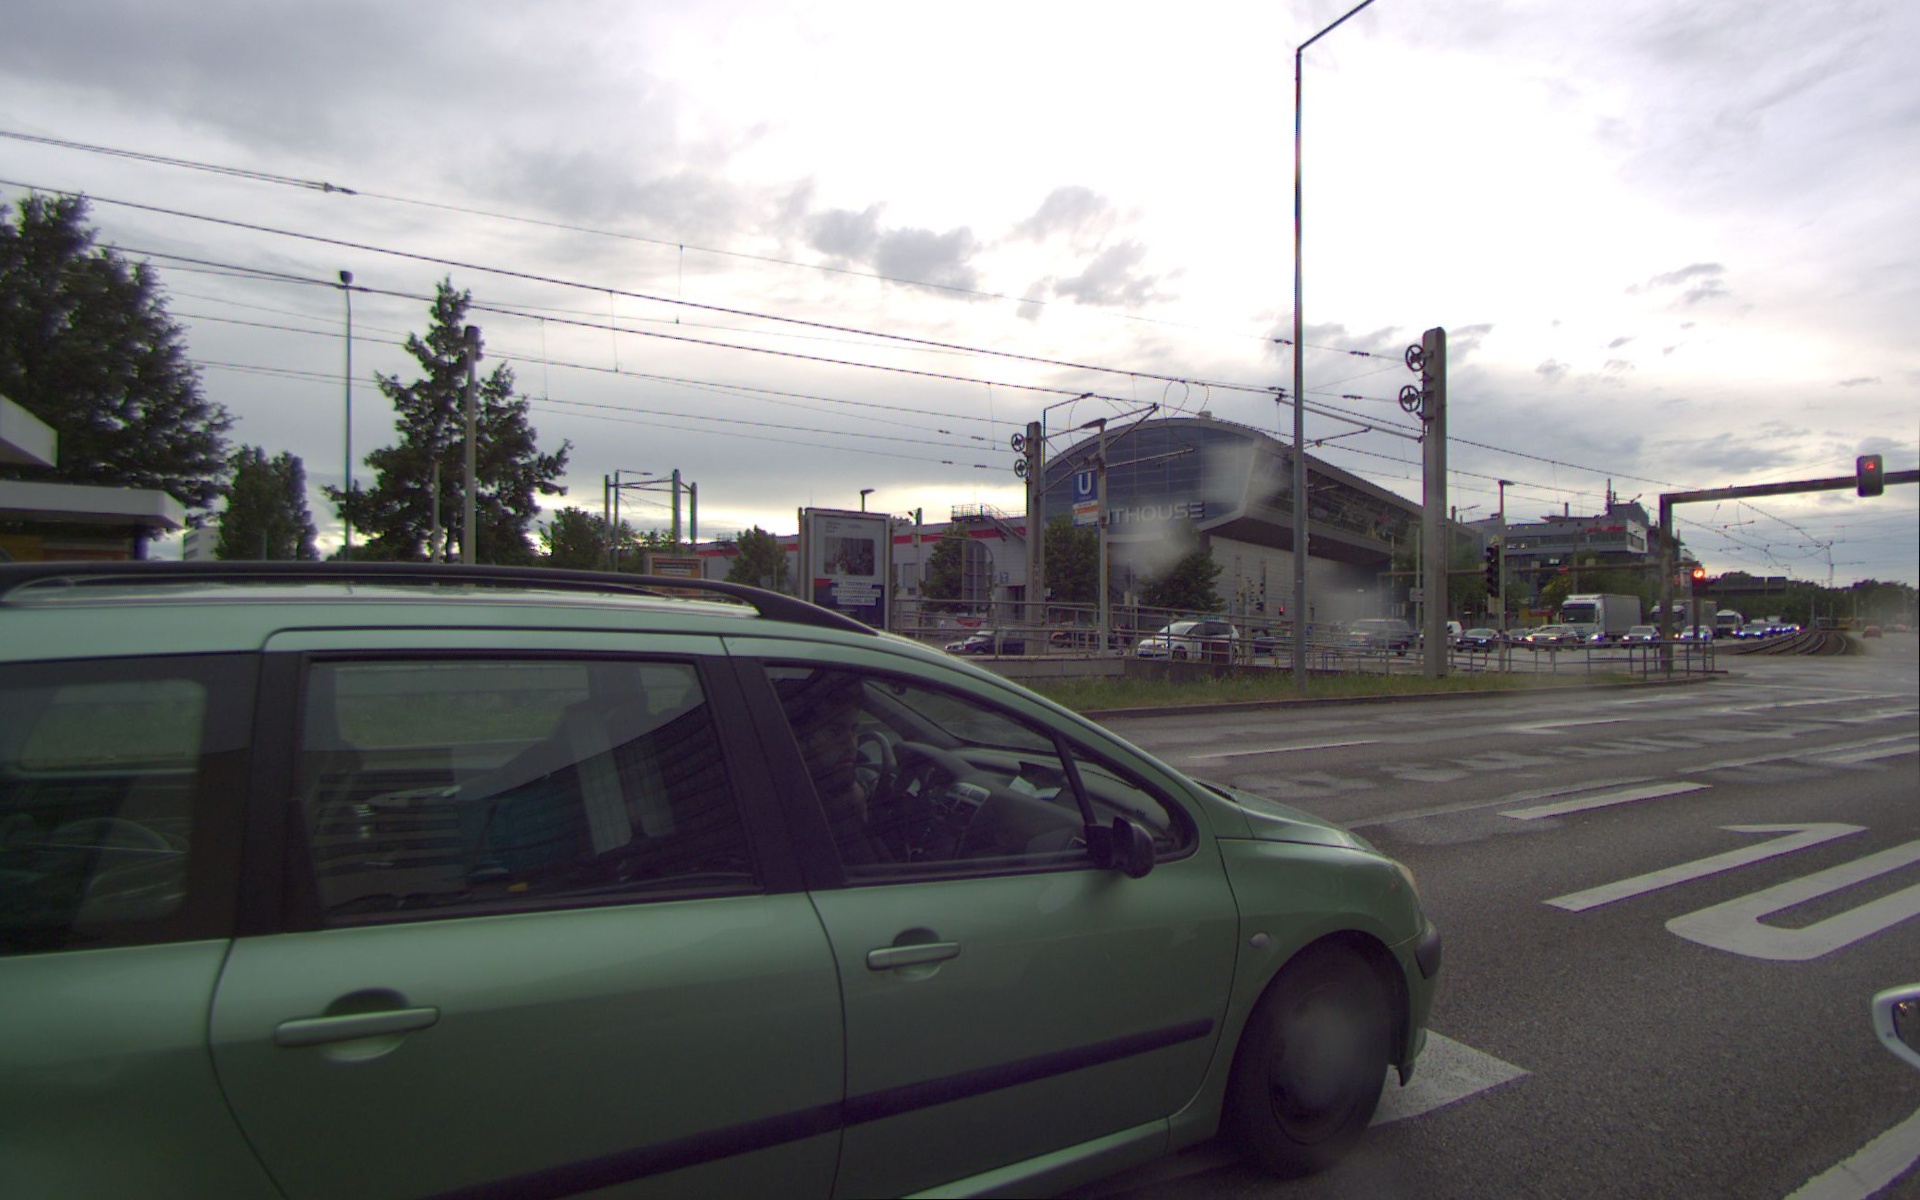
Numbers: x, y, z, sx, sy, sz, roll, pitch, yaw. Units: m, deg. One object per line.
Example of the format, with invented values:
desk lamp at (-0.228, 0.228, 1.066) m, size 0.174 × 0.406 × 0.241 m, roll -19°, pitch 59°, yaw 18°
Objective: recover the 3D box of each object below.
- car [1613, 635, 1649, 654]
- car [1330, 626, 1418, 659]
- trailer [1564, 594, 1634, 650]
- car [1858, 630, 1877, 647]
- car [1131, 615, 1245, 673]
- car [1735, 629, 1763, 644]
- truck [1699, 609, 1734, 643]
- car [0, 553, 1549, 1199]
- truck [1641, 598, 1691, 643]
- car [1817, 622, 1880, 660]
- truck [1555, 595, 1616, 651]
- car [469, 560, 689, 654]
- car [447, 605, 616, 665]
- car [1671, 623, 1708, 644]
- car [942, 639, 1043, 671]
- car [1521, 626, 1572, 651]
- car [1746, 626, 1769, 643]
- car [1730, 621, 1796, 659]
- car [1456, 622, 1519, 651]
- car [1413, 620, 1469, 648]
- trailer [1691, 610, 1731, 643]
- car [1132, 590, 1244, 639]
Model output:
car at (49.135, 3.233, 73.568) m, size 1.884 × 1.281 × 4.397 m, roll 2°, pitch 0°, yaw 38°
car at (20.432, 2.107, 49.495) m, size 4.886 × 1.517 × 1.665 m, roll 2°, pitch 0°, yaw -37°
trailer at (51.067, 1.783, 80.076) m, size 2.764 × 4.161 × 11.378 m, roll -1°, pitch -2°, yaw 43°
car at (117.682, 4.990, 130.234) m, size 1.754 × 2.040 × 4.322 m, roll 2°, pitch 0°, yaw 43°
car at (8.666, 1.668, 38.031) m, size 4.304 × 2.040 × 1.761 m, roll 2°, pitch 0°, yaw -35°
car at (87.767, 4.051, 111.722) m, size 4.535 × 1.576 × 1.884 m, roll 2°, pitch 0°, yaw -44°
truck at (91.600, 3.192, 121.635) m, size 2.707 × 3.854 × 5.401 m, roll -2°, pitch -3°, yaw 31°
car at (-0.500, 0.716, 2.667) m, size 4.354 × 1.488 × 1.686 m, roll 2°, pitch 0°, yaw -31°
truck at (68.486, 2.056, 97.426) m, size 6.140 × 4.184 × 2.643 m, roll 2°, pitch -3°, yaw -42°
car at (51.553, 2.339, 58.262) m, size 4.304 × 2.040 × 1.761 m, roll 1°, pitch 1°, yaw -35°
truck at (47.318, 1.735, 75.967) m, size 2.801 × 4.049 × 5.952 m, roll -1°, pitch -2°, yaw 43°
car at (-9.934, 0.220, 26.344) m, size 5.085 × 2.244 × 1.983 m, roll 2°, pitch 0°, yaw -31°
car at (-13.396, 1.108, 31.445) m, size 4.613 × 1.722 × 2.094 m, roll 2°, pitch 0°, yaw -31°
car at (64.542, 2.967, 88.792) m, size 4.066 × 1.674 × 1.869 m, roll 2°, pitch 0°, yaw -43°
car at (1.323, 2.228, 40.570) m, size 3.891 × 1.146 × 1.518 m, roll 2°, pitch 0°, yaw -32°
car at (37.518, 2.464, 64.233) m, size 4.125 × 1.481 × 1.721 m, roll 2°, pitch 0°, yaw -44°
car at (99.298, 4.239, 125.059) m, size 1.971 × 1.862 × 4.882 m, roll 3°, pitch 3°, yaw 41°
car at (45.831, 2.223, 57.315) m, size 4.303 × 2.041 × 1.761 m, roll 1°, pitch 1°, yaw -35°
car at (30.406, 2.111, 57.848) m, size 3.967 × 1.522 × 1.772 m, roll 2°, pitch 0°, yaw -40°
car at (30.273, 2.132, 63.199) m, size 4.047 × 1.648 × 1.559 m, roll 2°, pitch 0°, yaw -39°
trailer at (94.413, 3.375, 126.459) m, size 2.685 × 3.905 × 11.208 m, roll -2°, pitch -3°, yaw 30°
car at (8.619, 0.565, 37.845) m, size 4.222 × 1.688 × 1.519 m, roll 2°, pitch 0°, yaw -32°
